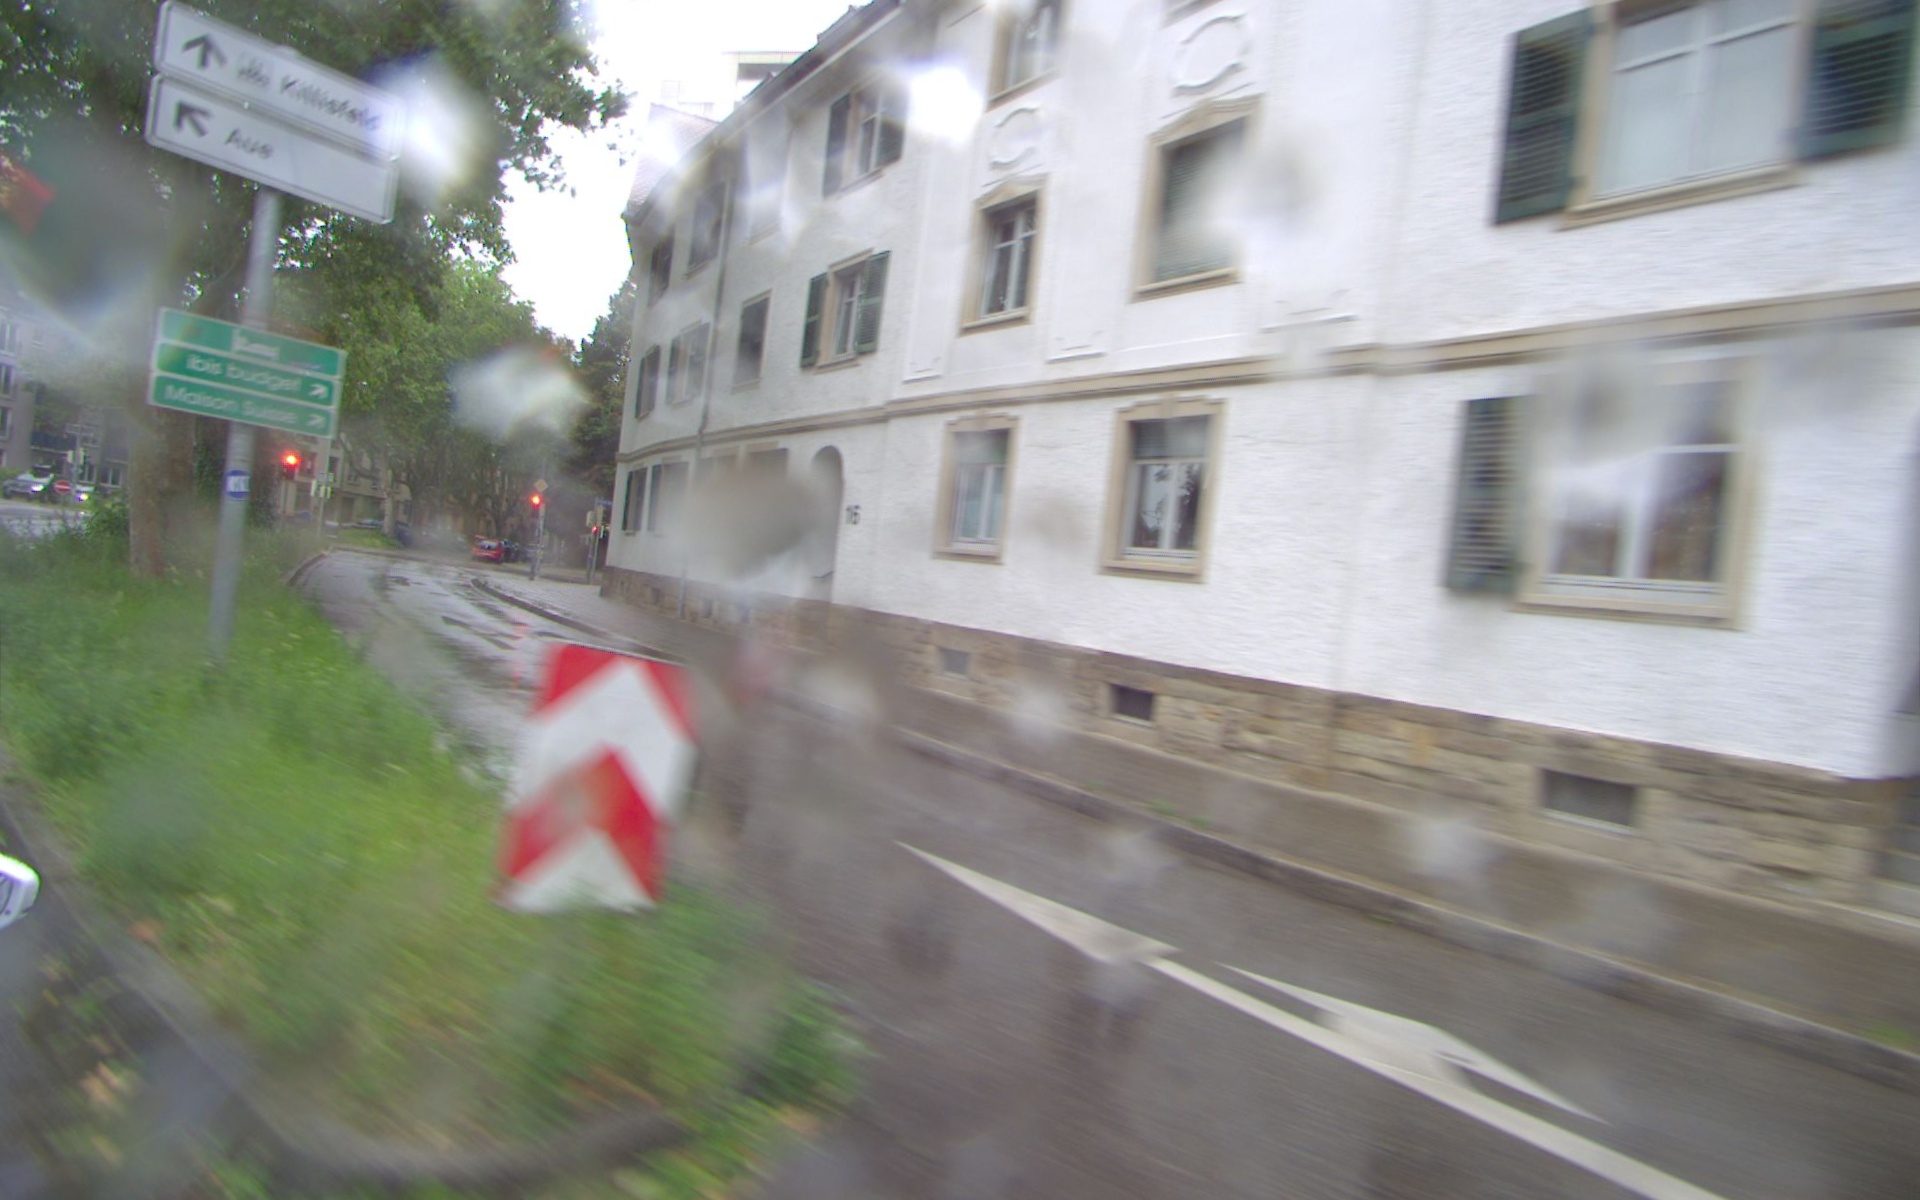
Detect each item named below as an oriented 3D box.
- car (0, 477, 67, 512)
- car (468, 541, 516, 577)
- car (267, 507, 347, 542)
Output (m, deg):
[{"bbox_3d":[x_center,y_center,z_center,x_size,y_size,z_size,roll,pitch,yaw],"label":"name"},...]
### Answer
[{"bbox_3d":[-50.400,-5.716,54.746,1.708,1.573,3.537,5,1,-25],"label":"car"},{"bbox_3d":[-29.992,-2.637,64.571,1.968,2.040,3.986,5,1,-15],"label":"car"},{"bbox_3d":[-36.658,-4.198,56.562,3.442,1.543,1.511,5,1,-23],"label":"car"}]
